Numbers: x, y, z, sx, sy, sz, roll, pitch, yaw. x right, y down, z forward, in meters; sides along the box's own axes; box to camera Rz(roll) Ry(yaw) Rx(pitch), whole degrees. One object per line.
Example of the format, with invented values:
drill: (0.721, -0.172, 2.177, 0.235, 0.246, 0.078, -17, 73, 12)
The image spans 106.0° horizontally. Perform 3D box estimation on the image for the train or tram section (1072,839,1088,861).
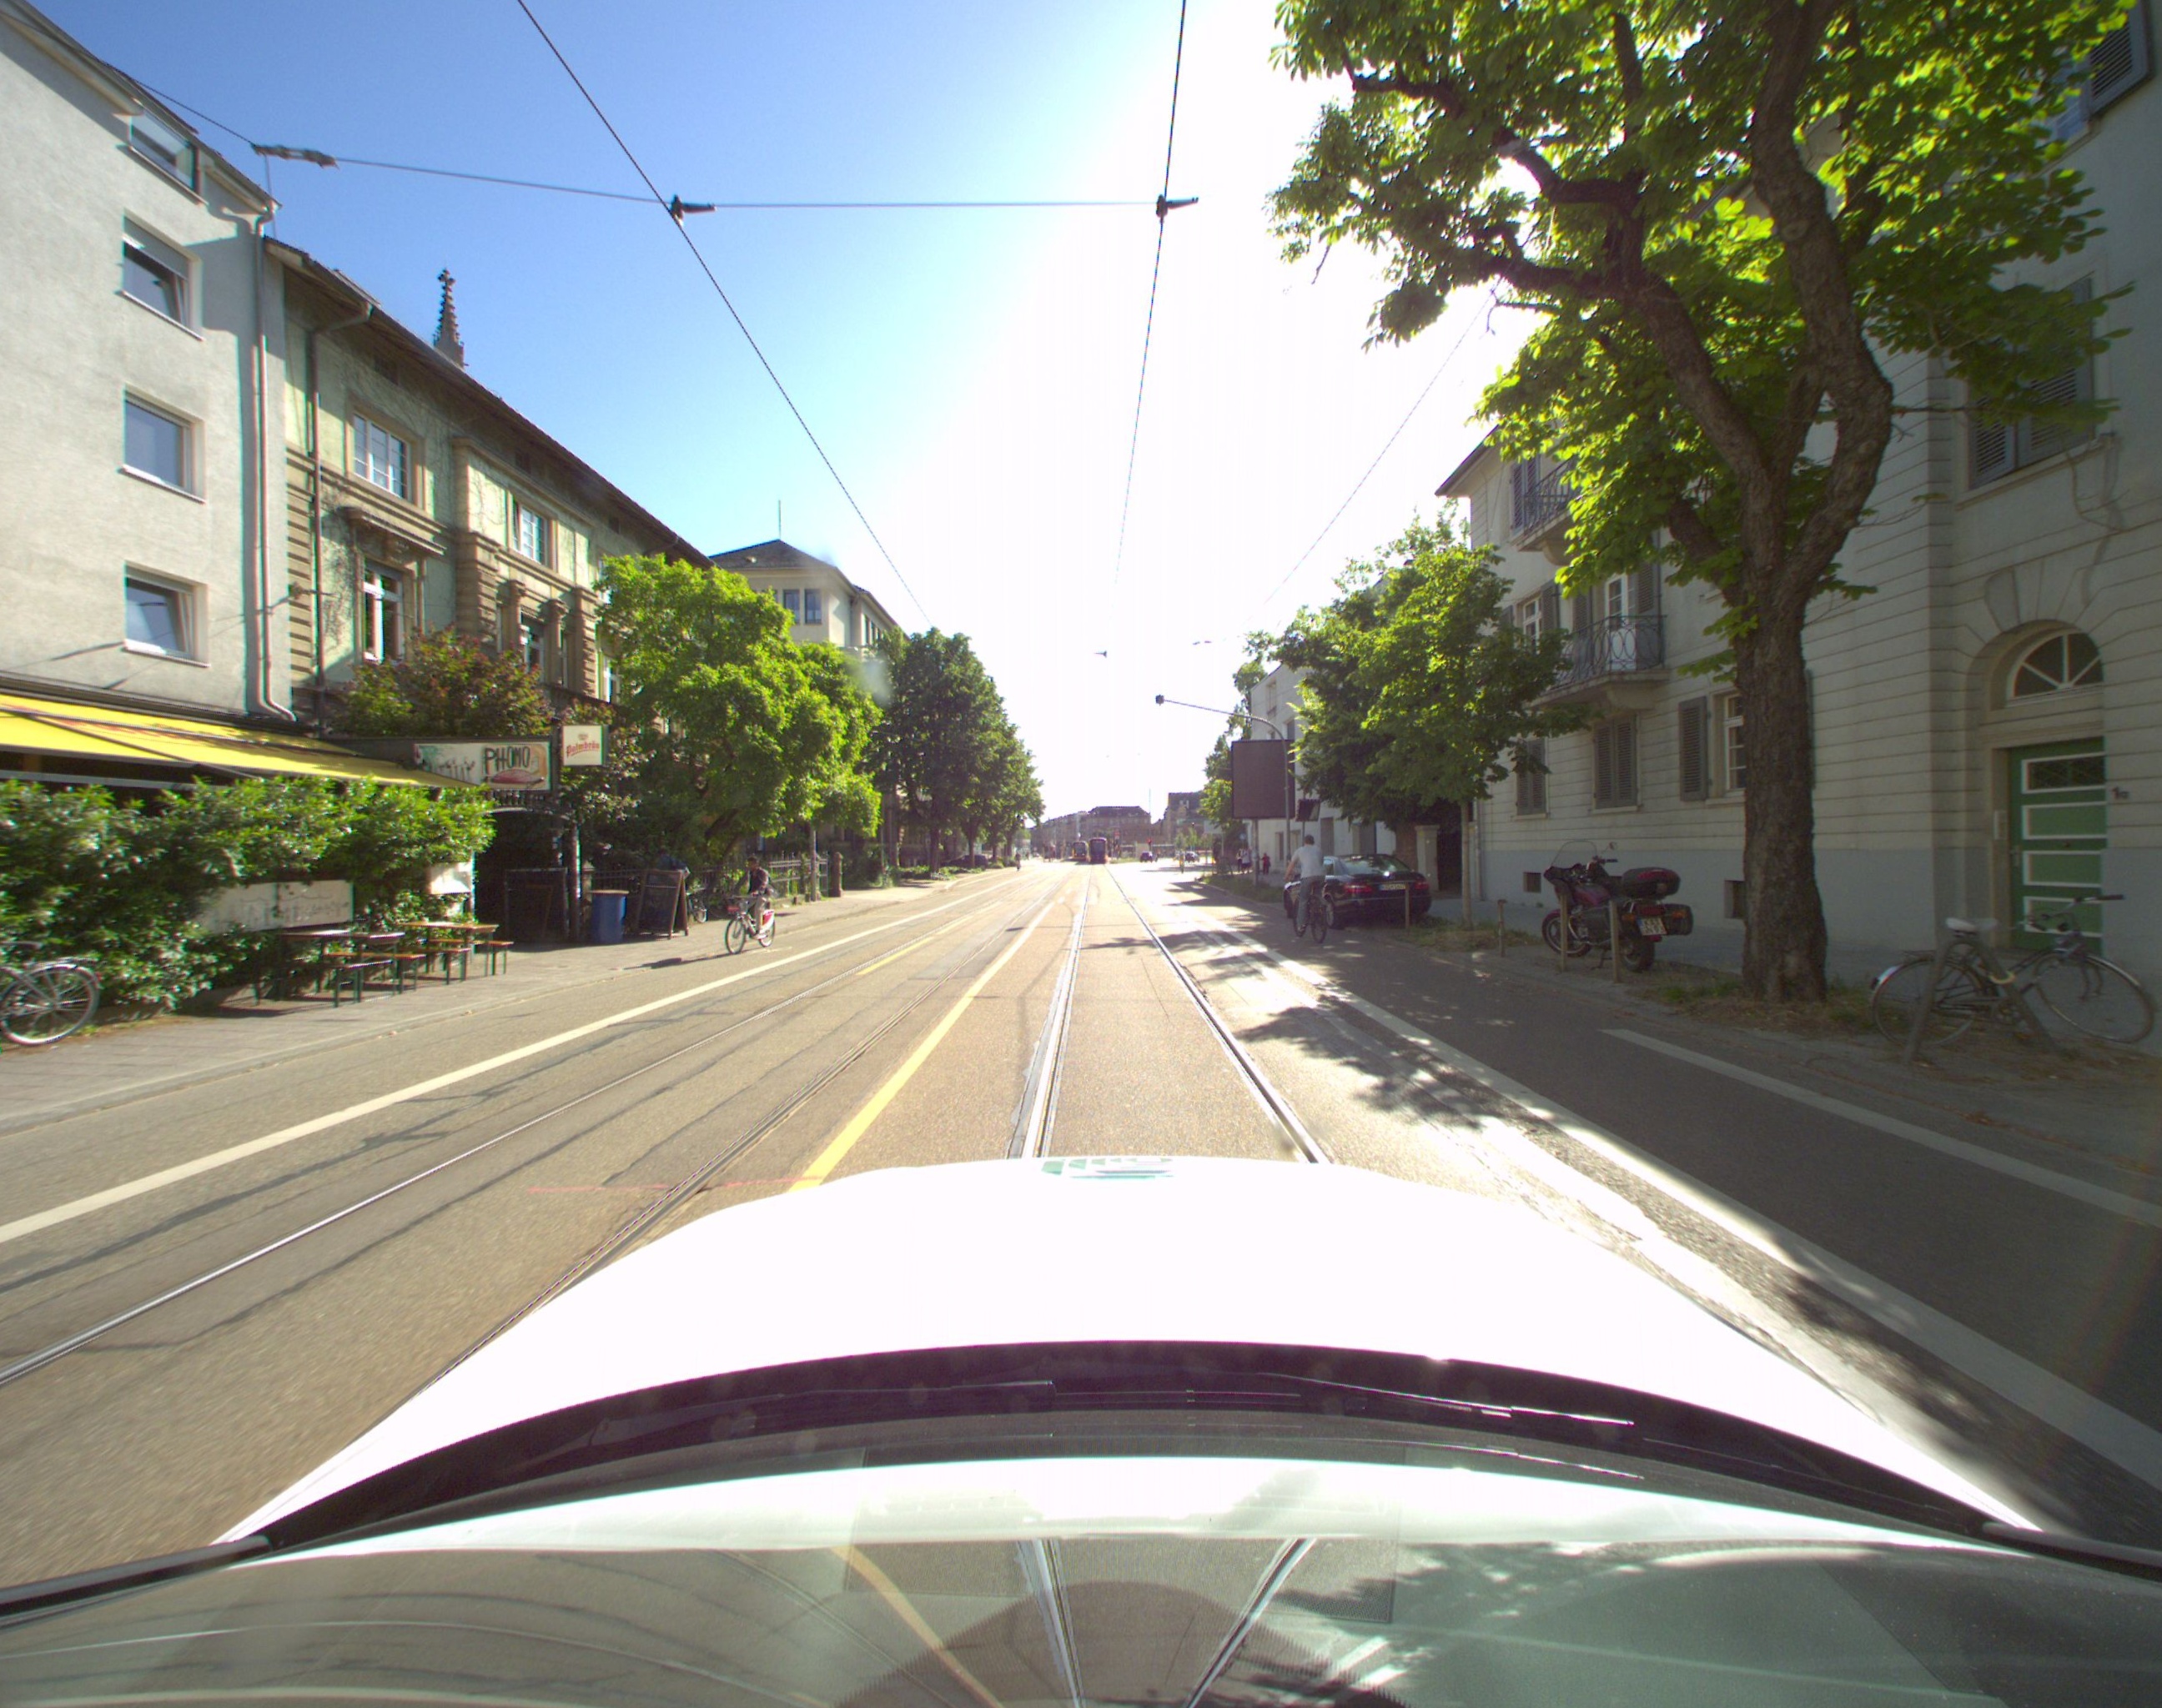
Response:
train or tram section: (-0.115, -0.691, 144.973, 2.733, 3.651, 13.785, 0, 0, 0)

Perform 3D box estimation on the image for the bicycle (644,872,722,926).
bicycle: (-9.393, 1.036, 19.329, 0.642, 1.143, 1.910, 2, 0, 9)

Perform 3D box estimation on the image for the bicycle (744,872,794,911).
bicycle: (-9.127, 1.080, 23.928, 0.587, 1.045, 1.907, 1, 0, 4)

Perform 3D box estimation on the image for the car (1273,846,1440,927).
car: (5.772, 0.606, 17.797, 1.817, 1.458, 4.814, -2, 0, -2)

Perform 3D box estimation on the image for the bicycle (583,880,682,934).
bicycle: (-9.759, 1.130, 17.816, 0.631, 1.045, 2.031, 0, 0, 18)

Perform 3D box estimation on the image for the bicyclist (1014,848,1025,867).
bicyclist: (-5.452, 0.319, 72.084, 0.683, 1.644, 1.239, -2, 0, 5)

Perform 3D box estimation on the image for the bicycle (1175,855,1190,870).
bicycle: (7.735, 0.665, 62.147, 0.699, 1.104, 1.726, 1, 1, 21)

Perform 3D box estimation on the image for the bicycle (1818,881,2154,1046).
bicycle: (6.449, 0.753, 5.871, 1.613, 1.043, 0.686, -2, 0, 1)

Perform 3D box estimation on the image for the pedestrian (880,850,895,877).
pedestrian: (-13.280, 0.628, 55.970, 0.726, 1.797, 0.781, 2, 0, 4)

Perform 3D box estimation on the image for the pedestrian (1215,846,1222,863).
pedestrian: (15.593, 0.089, 92.333, 0.635, 1.903, 1.135, -3, 0, 2)

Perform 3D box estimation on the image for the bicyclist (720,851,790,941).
bicyclist: (-6.101, 0.759, 15.316, 0.742, 1.599, 1.118, -3, 0, 2)

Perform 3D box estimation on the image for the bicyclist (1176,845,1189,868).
bicyclist: (7.745, 0.199, 62.143, 0.699, 1.675, 1.107, 1, 0, 21)

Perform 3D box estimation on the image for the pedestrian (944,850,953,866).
pedestrian: (-13.648, 0.410, 84.019, 0.698, 1.635, 0.759, 2, 0, 1)

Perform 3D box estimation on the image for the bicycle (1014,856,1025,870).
bicycle: (-5.430, 0.788, 72.100, 0.683, 1.124, 1.934, -2, 0, 5)

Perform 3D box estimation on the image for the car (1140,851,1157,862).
car: (9.787, 0.361, 118.153, 1.775, 1.604, 3.728, 1, 0, 16)

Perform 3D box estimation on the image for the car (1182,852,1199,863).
car: (16.094, 0.492, 119.184, 1.774, 1.511, 3.730, 1, 0, 18)

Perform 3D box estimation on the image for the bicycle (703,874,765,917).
bicycle: (-9.266, 1.087, 21.853, 0.586, 1.045, 1.910, 1, 0, 9)

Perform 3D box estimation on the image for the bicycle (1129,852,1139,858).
bicycle: (10.536, 0.139, 160.667, 1.928, 1.103, 0.599, 0, 0, -2)

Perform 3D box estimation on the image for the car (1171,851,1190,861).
car: (17.135, 0.315, 140.514, 1.685, 1.643, 3.736, 1, 0, 36)

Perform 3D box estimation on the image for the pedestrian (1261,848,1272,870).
pedestrian: (11.673, 0.314, 51.263, 0.515, 1.404, 0.765, -1, 0, 4)

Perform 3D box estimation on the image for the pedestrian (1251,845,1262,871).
pedestrian: (11.065, 0.266, 51.388, 0.515, 1.600, 0.765, -1, 0, 4)

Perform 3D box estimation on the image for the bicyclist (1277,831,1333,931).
bicyclist: (3.912, 0.451, 14.273, 0.735, 1.686, 0.972, 1, 0, 3)

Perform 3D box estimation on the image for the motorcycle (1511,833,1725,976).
motorcycle: (6.428, 0.536, 10.016, 0.910, 1.488, 2.681, -2, 0, 2)

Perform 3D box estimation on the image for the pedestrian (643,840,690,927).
pedestrian: (-8.927, 0.619, 17.538, 0.571, 1.831, 0.693, 0, 0, 20)

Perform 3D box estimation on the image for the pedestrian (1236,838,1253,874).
pedestrian: (8.658, 0.108, 43.152, 0.681, 1.849, 0.955, -2, 0, 0)

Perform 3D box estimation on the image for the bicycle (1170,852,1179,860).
bicycle: (13.907, 0.286, 120.976, 0.698, 1.055, 2.327, 2, 1, 26)

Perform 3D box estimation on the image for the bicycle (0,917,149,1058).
bicycle: (-9.259, 1.149, 6.899, 0.636, 1.059, 1.744, 2, 0, 2)

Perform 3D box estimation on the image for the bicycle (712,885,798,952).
bicycle: (-6.079, 1.175, 15.312, 0.742, 1.082, 1.900, -3, 0, 2)

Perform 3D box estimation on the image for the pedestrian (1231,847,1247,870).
pedestrian: (11.732, 0.343, 60.394, 0.849, 1.641, 0.999, -2, -2, 29)

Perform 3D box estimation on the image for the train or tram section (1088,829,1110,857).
train or tram section: (2.383, -1.464, 112.510, 2.733, 3.651, 13.785, 0, 0, 0)

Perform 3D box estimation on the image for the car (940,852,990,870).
car: (-10.405, 0.659, 72.989, 4.008, 1.550, 1.861, 1, 0, -27)

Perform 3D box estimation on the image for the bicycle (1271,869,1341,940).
bicycle: (3.907, 0.841, 14.330, 0.735, 1.094, 2.113, 1, 0, 3)
